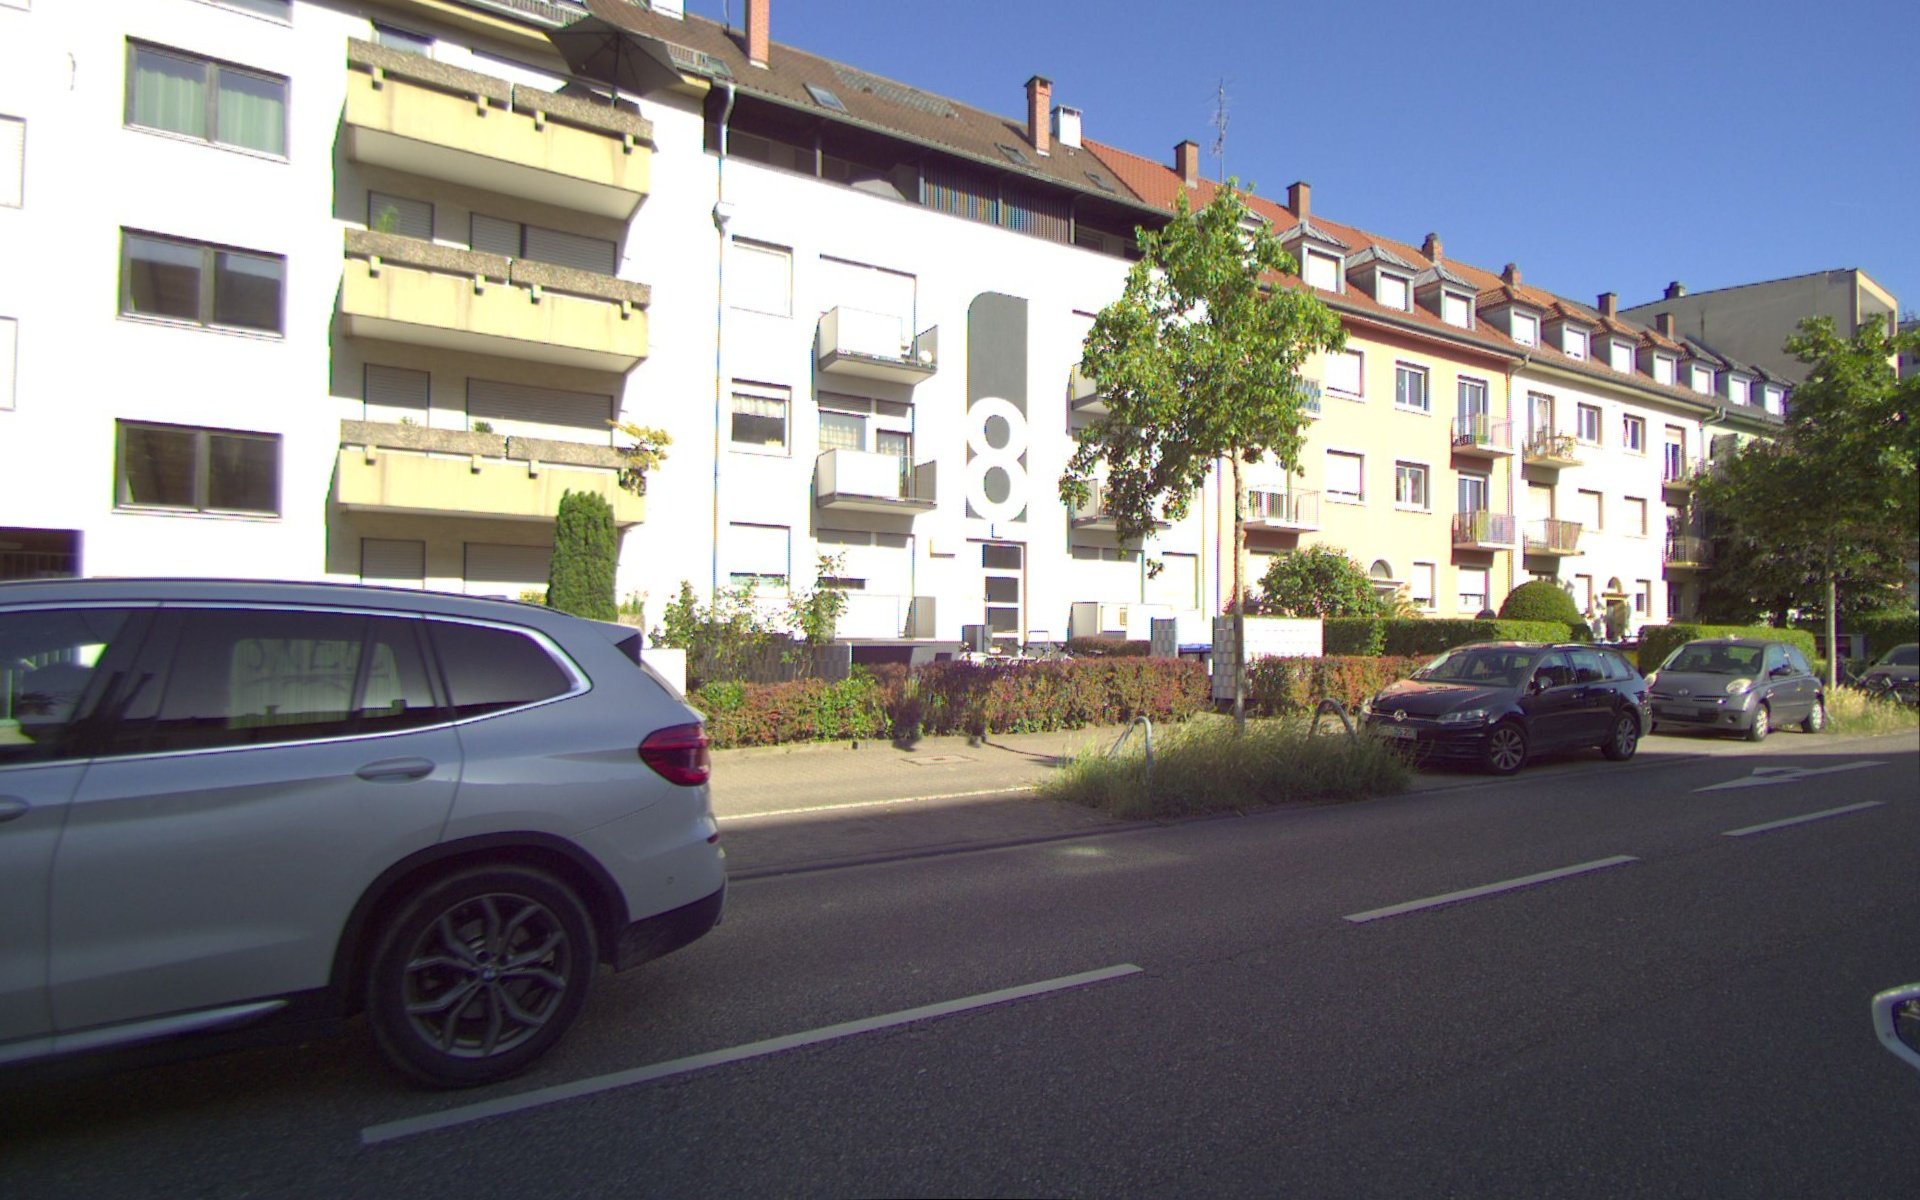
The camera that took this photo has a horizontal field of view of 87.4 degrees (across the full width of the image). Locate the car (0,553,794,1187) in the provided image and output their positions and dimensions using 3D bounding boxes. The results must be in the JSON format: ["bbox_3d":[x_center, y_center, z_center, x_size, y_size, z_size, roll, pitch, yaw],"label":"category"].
[{"bbox_3d":[-3.063,0.770,3.414,4.620,1.669,1.797,1,-5,-32],"label":"car"}]

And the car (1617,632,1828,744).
[{"bbox_3d":[12.396,1.333,16.283,3.621,1.546,1.664,1,0,-34],"label":"car"}]

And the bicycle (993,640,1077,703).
[{"bbox_3d":[1.351,1.255,17.919,1.530,1.067,0.418,1,-2,-31],"label":"bicycle"}]

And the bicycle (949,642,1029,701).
[{"bbox_3d":[0.569,1.361,19.314,1.530,1.077,0.446,1,-2,-31],"label":"bicycle"}]

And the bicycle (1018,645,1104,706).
[{"bbox_3d":[1.747,1.279,17.252,1.530,0.995,0.397,1,-2,-31],"label":"bicycle"}]

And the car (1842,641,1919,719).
[{"bbox_3d":[19.935,1.587,20.619,4.321,1.427,1.756,1,-1,-35],"label":"car"}]

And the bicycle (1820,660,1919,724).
[{"bbox_3d":[17.254,1.705,18.876,0.542,1.149,1.536,1,-3,-31],"label":"bicycle"}]

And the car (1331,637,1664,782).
[{"bbox_3d":[6.897,1.248,12.756,4.443,1.513,1.776,1,-2,-32],"label":"car"}]

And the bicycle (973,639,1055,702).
[{"bbox_3d":[1.002,1.297,18.638,1.530,1.126,0.446,1,-2,-31],"label":"bicycle"}]
